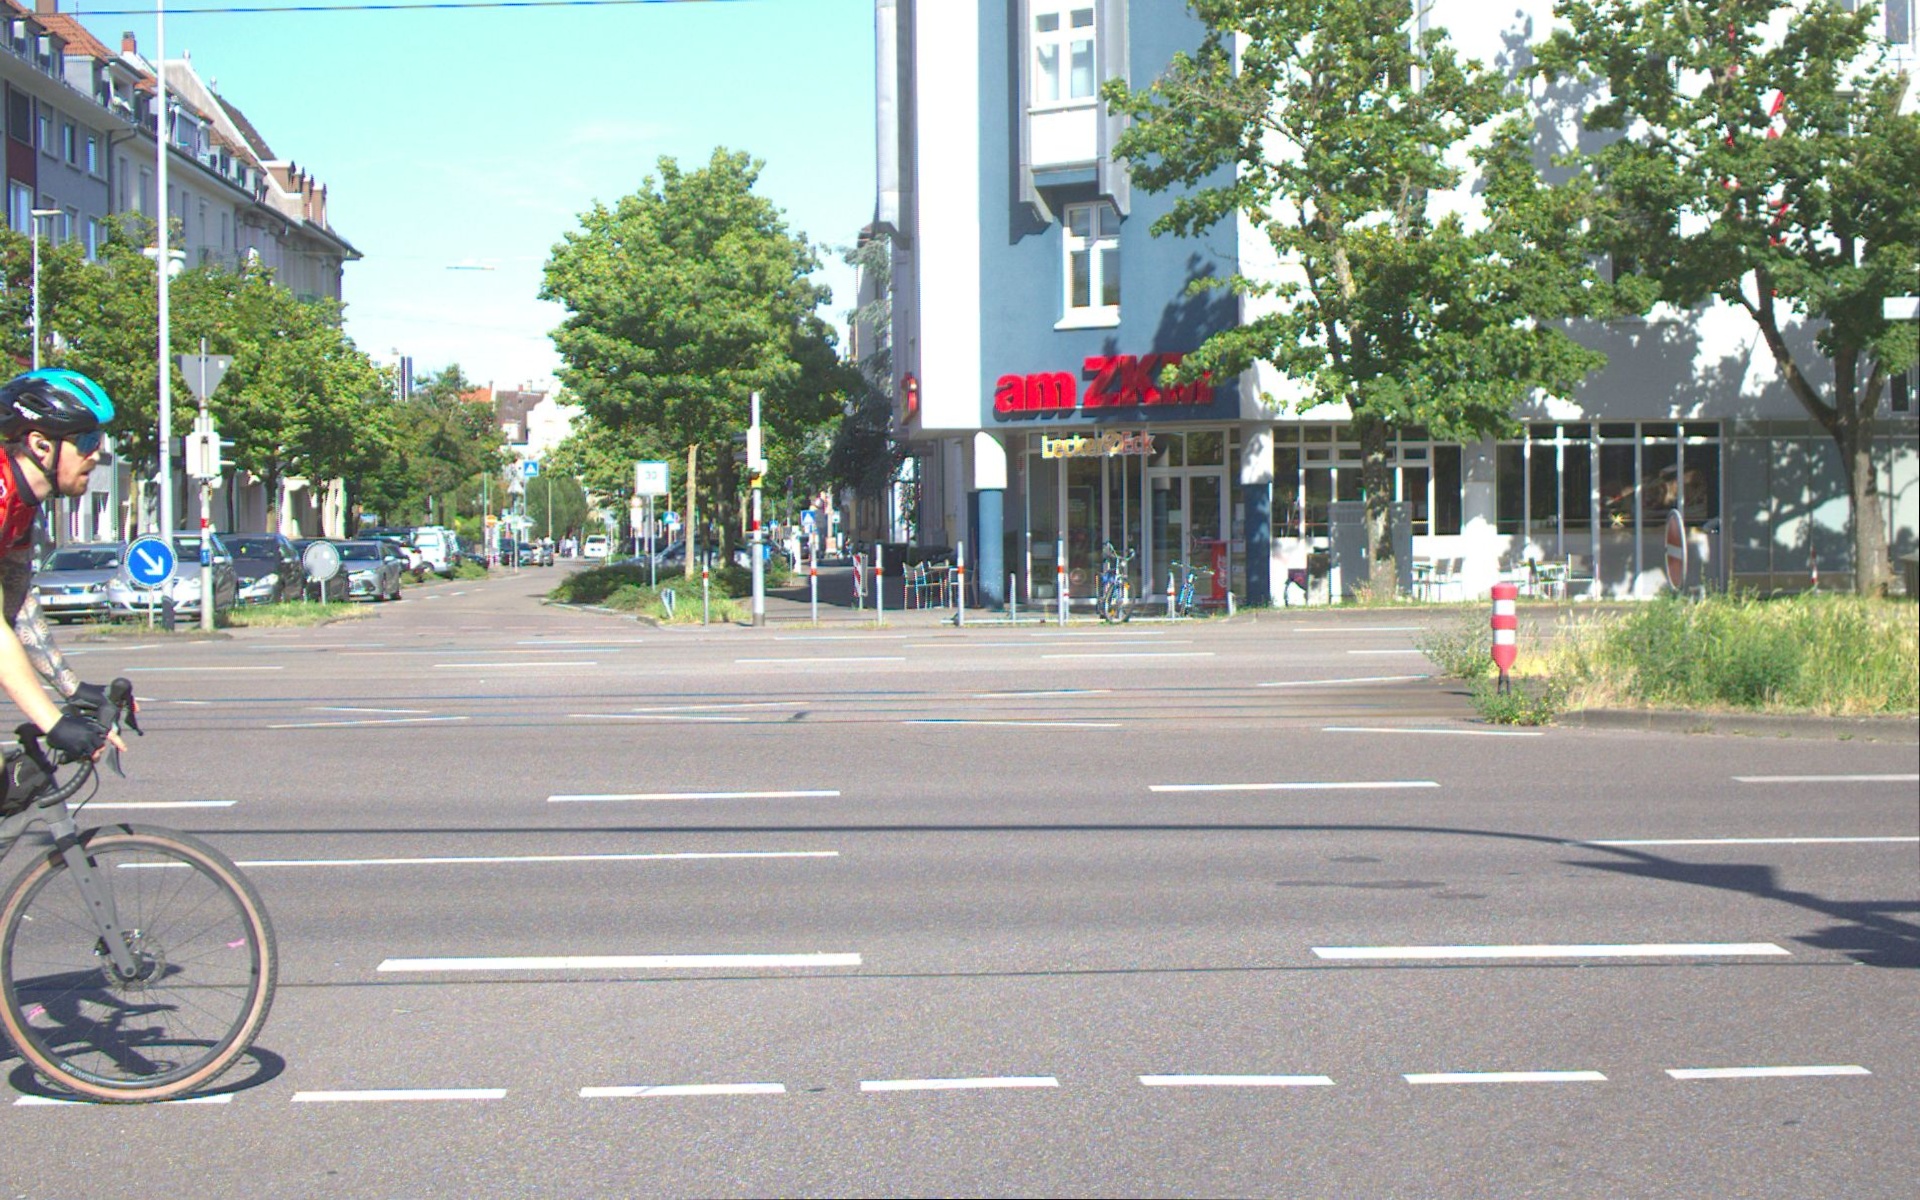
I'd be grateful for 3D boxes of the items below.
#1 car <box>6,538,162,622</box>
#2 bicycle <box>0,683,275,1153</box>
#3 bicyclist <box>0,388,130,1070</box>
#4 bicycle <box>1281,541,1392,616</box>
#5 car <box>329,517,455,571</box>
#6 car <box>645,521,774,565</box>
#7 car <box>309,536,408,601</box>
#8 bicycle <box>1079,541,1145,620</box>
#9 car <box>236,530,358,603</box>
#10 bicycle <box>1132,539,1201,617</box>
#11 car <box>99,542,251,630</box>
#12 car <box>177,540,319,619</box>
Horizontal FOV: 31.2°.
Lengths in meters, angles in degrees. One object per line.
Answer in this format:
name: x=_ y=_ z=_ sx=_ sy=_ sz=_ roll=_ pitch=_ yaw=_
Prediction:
car: x=-16.015 y=-0.380 z=63.020 sx=1.688 sy=1.427 sz=4.400 roll=2 pitch=1 yaw=0
bicycle: x=-2.583 y=0.762 z=8.270 sx=1.805 sy=1.051 sz=0.673 roll=-1 pitch=1 yaw=-11
bicyclist: x=-2.543 y=0.302 z=8.267 sx=1.001 sy=1.580 sz=0.673 roll=-1 pitch=1 yaw=-11
bicycle: x=5.275 y=-0.301 z=48.128 sx=1.512 sy=1.024 sz=0.473 roll=-1 pitch=1 yaw=9
car: x=-21.341 y=-2.103 z=129.311 sx=4.504 sy=2.007 sz=2.000 roll=0 pitch=0 yaw=-5
car: x=-7.217 y=-1.637 z=98.892 sx=3.566 sy=1.219 sz=1.731 roll=0 pitch=0 yaw=-8
car: x=-14.218 y=-0.755 z=81.465 sx=1.688 sy=1.427 sz=4.400 roll=2 pitch=1 yaw=-2
bicycle: x=2.021 y=-0.269 z=45.765 sx=0.471 sy=1.024 sz=1.517 roll=-1 pitch=1 yaw=-13
car: x=-13.973 y=-0.716 z=72.680 sx=1.688 sy=1.427 sz=4.400 roll=2 pitch=1 yaw=0
bicycle: x=2.773 y=-0.309 z=46.309 sx=0.471 sy=1.024 sz=1.517 roll=-1 pitch=1 yaw=-14
car: x=-13.635 y=-0.261 z=59.907 sx=1.688 sy=1.427 sz=4.400 roll=2 pitch=1 yaw=-1
car: x=-13.776 y=-0.409 z=66.713 sx=1.688 sy=1.427 sz=4.400 roll=2 pitch=1 yaw=2
